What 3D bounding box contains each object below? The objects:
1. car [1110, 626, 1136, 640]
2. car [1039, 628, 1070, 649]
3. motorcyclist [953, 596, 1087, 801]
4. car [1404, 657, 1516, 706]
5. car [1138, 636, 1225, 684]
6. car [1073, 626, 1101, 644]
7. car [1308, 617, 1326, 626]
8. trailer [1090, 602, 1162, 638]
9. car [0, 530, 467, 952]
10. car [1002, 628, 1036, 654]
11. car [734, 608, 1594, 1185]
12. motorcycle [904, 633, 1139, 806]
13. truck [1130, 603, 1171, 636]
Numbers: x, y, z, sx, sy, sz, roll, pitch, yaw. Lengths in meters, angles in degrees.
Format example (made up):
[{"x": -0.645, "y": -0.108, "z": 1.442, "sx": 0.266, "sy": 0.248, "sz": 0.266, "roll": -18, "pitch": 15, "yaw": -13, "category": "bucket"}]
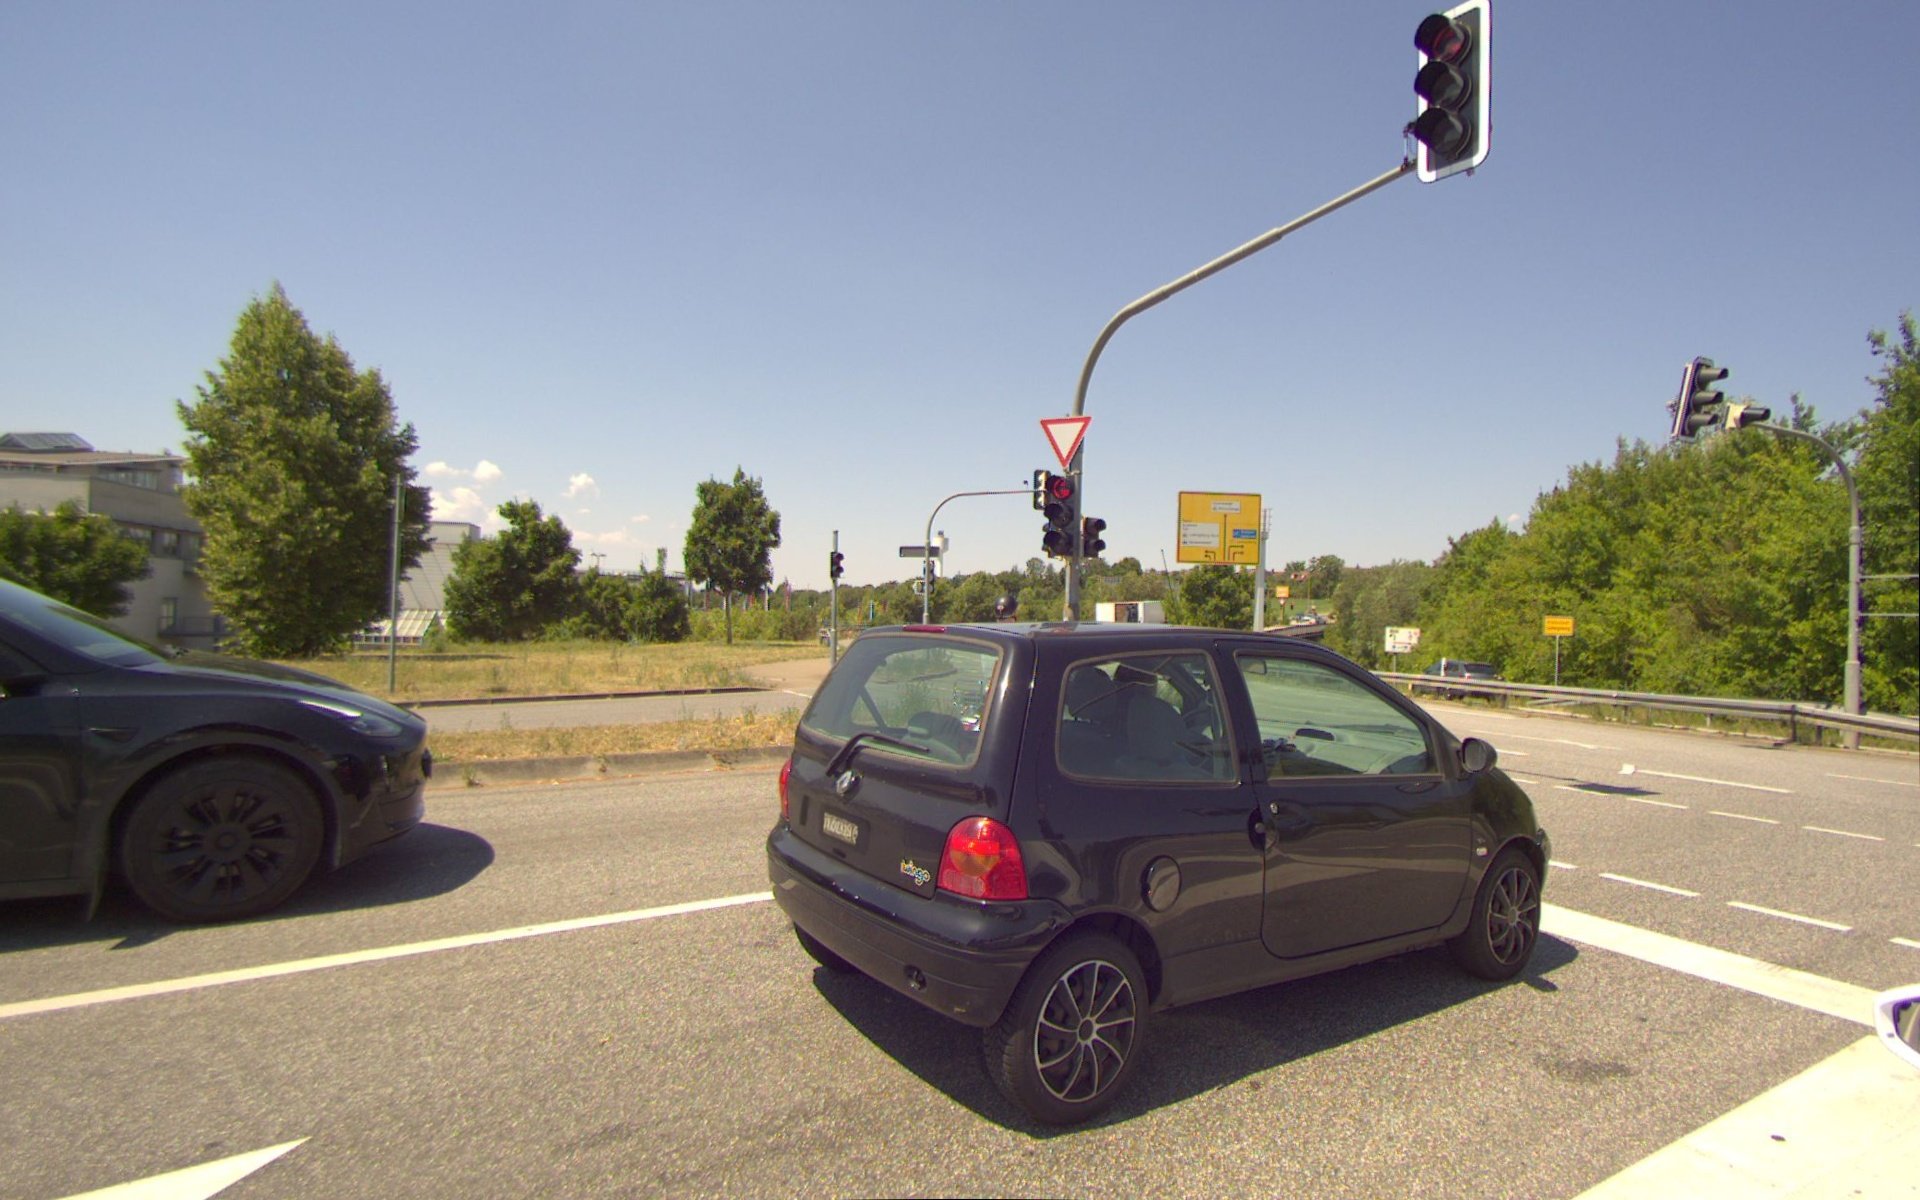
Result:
[{"x": 18.526, "y": 3.731, "z": 114.129, "sx": 1.962, "sy": 1.573, "sz": 3.997, "roll": 1, "pitch": 0, "yaw": 25, "category": "car"}, {"x": 8.204, "y": 3.332, "z": 86.886, "sx": 1.845, "sy": 1.644, "sz": 4.001, "roll": 1, "pitch": 0, "yaw": 16, "category": "car"}, {"x": 0.487, "y": 0.770, "z": 8.175, "sx": 0.838, "sy": 1.560, "sz": 0.607, "roll": 3, "pitch": -1, "yaw": -34, "category": "motorcyclist"}, {"x": 18.559, "y": 2.991, "z": 37.540, "sx": 1.777, "sy": 1.452, "sz": 4.412, "roll": 5, "pitch": -2, "yaw": -2, "category": "car"}, {"x": 8.101, "y": 2.177, "z": 37.148, "sx": 1.779, "sy": 1.452, "sz": 3.923, "roll": 4, "pitch": -2, "yaw": -9, "category": "car"}, {"x": 13.011, "y": 3.573, "z": 102.830, "sx": 1.897, "sy": 1.687, "sz": 3.999, "roll": 1, "pitch": 0, "yaw": 22, "category": "car"}, {"x": 68.340, "y": 4.166, "z": 192.215, "sx": 3.789, "sy": 1.652, "sz": 1.781, "roll": 2, "pitch": 0, "yaw": -43, "category": "car"}, {"x": 21.964, "y": 2.519, "z": 131.569, "sx": 3.188, "sy": 4.305, "sz": 15.360, "roll": 1, "pitch": 0, "yaw": 34, "category": "trailer"}, {"x": -4.713, "y": 0.517, "z": 4.266, "sx": 4.461, "sy": 1.622, "sz": 1.862, "roll": 2, "pitch": 0, "yaw": -35, "category": "car"}, {"x": 4.135, "y": 2.826, "z": 69.969, "sx": 1.847, "sy": 1.755, "sz": 4.003, "roll": 1, "pitch": -1, "yaw": 11, "category": "car"}, {"x": 0.939, "y": 0.791, "z": 4.103, "sx": 3.266, "sy": 1.426, "sz": 1.609, "roll": 2, "pitch": -1, "yaw": -34, "category": "car"}, {"x": 0.536, "y": 0.933, "z": 8.198, "sx": 1.921, "sy": 1.255, "sz": 0.572, "roll": 3, "pitch": -1, "yaw": -34, "category": "motorcycle"}, {"x": 26.193, "y": 2.600, "z": 137.903, "sx": 3.188, "sy": 4.305, "sz": 6.218, "roll": 1, "pitch": 1, "yaw": 34, "category": "truck"}]
